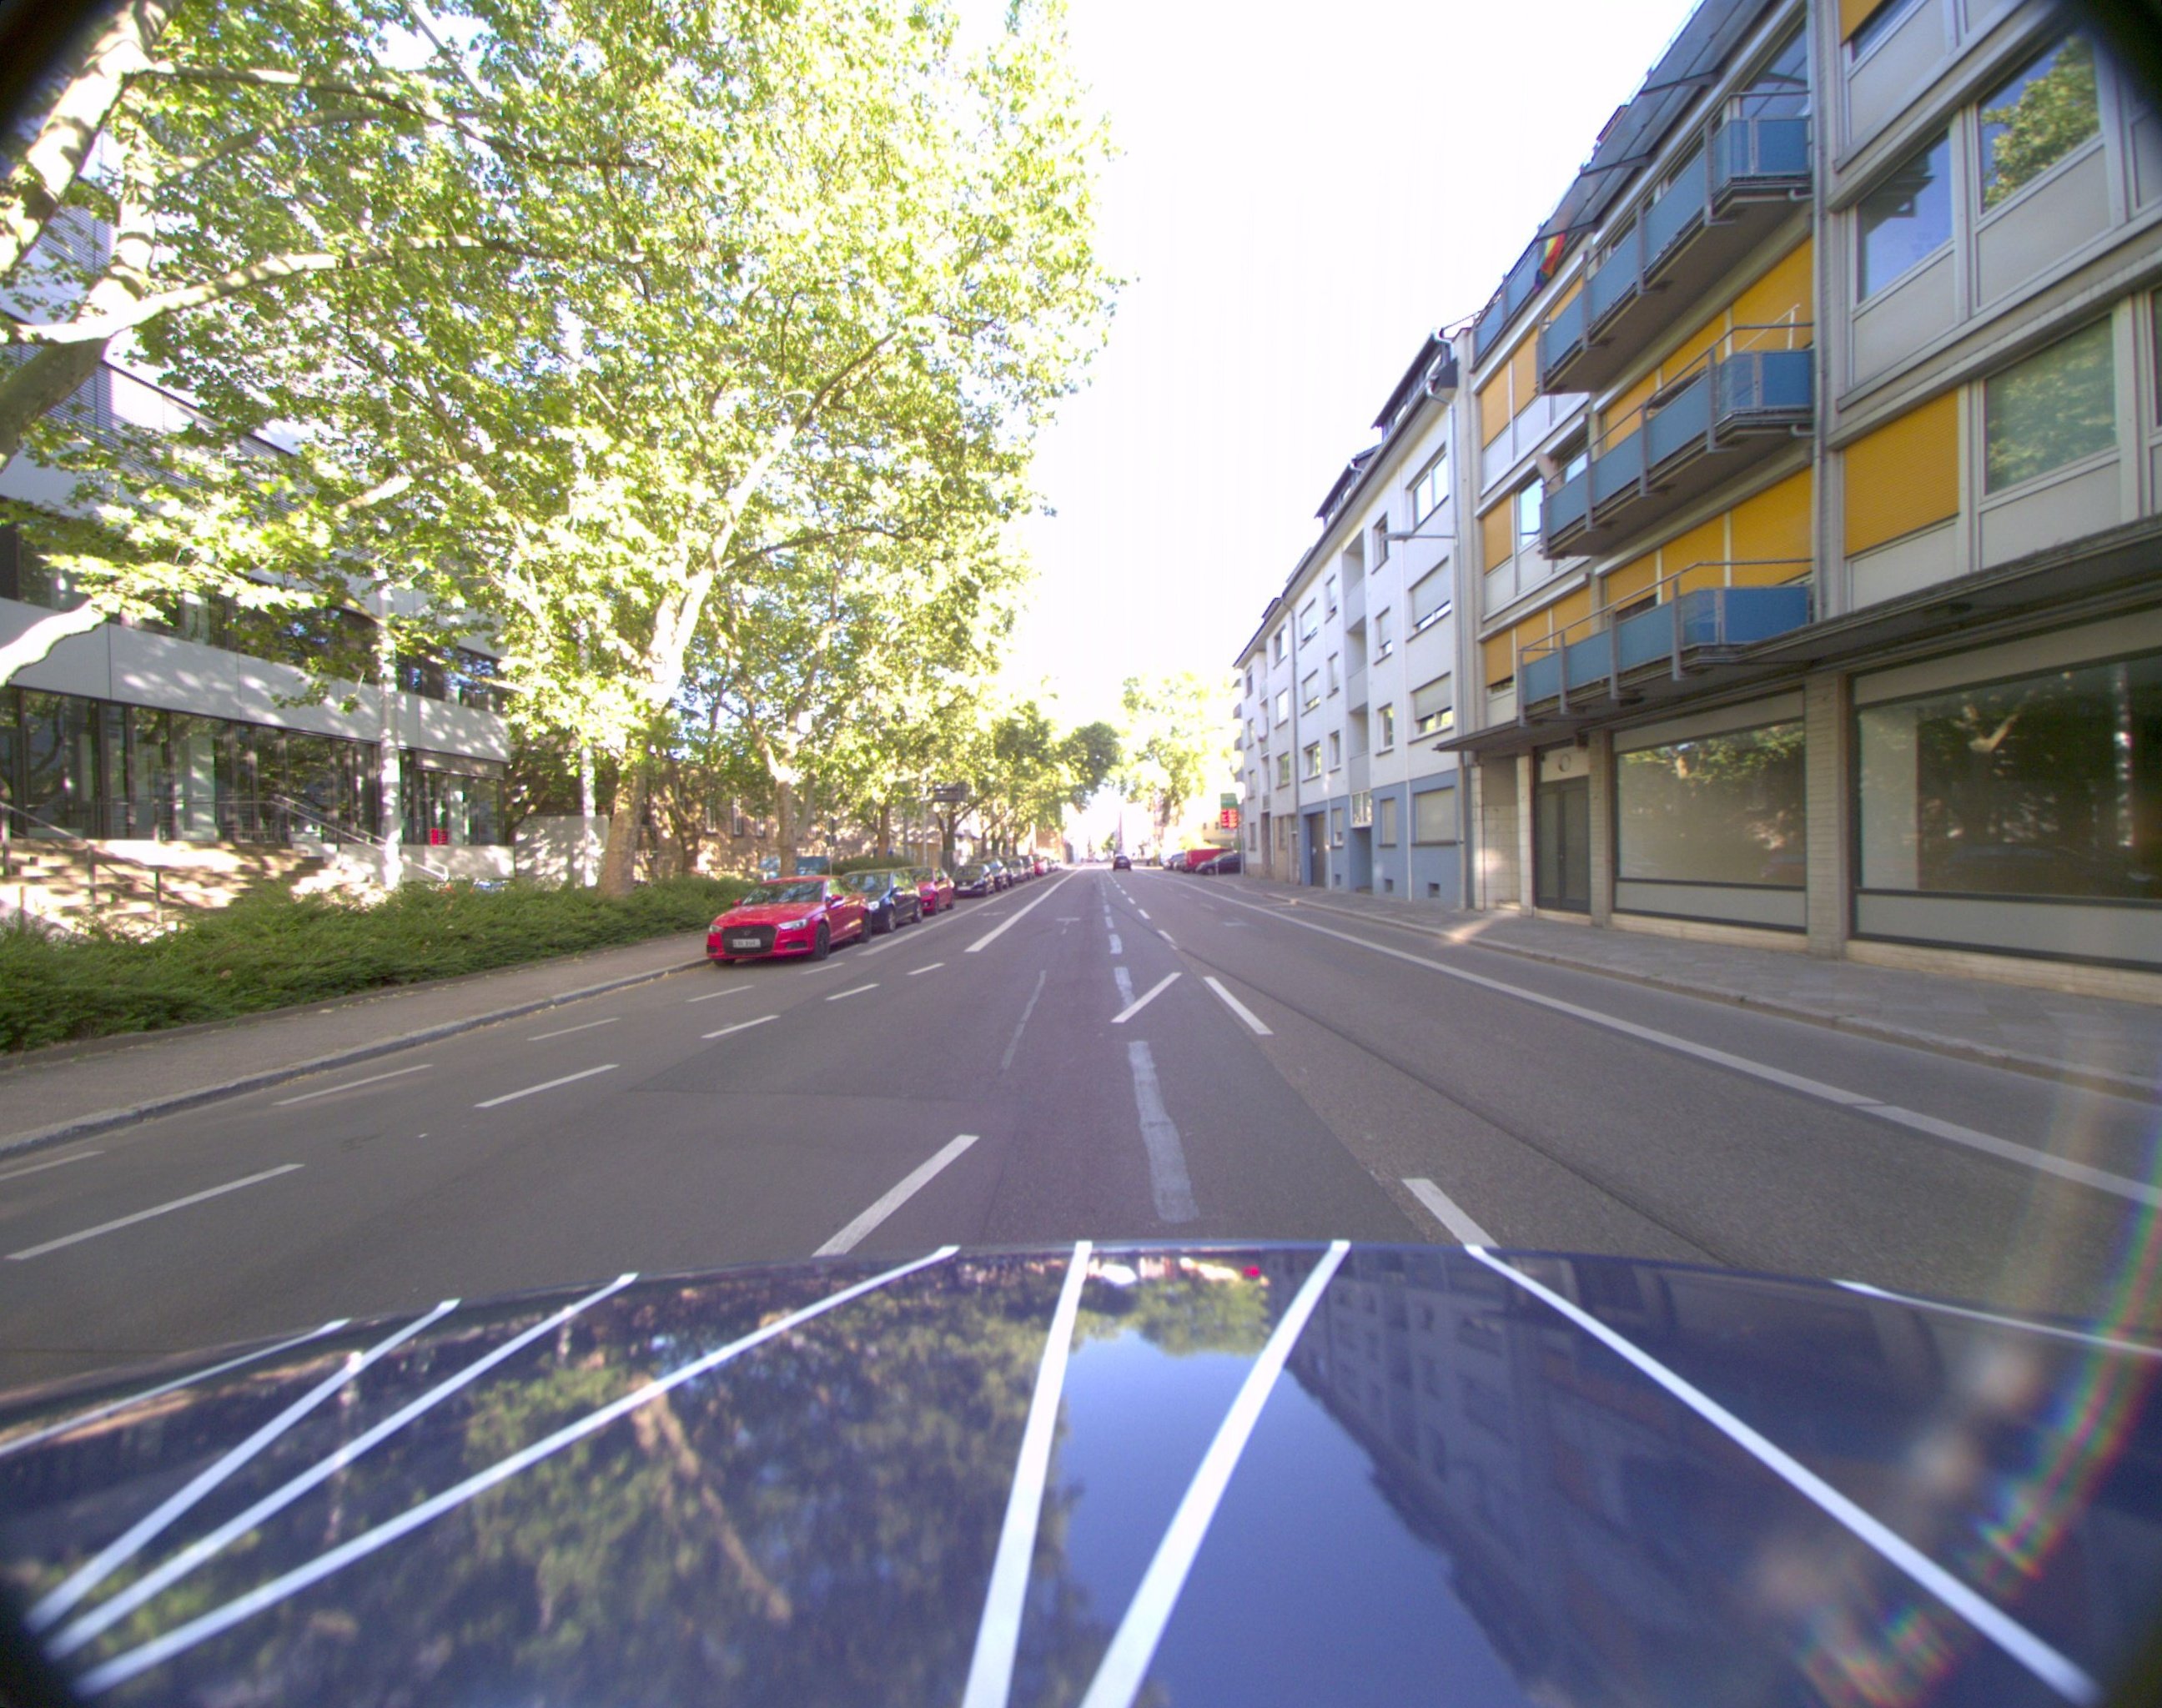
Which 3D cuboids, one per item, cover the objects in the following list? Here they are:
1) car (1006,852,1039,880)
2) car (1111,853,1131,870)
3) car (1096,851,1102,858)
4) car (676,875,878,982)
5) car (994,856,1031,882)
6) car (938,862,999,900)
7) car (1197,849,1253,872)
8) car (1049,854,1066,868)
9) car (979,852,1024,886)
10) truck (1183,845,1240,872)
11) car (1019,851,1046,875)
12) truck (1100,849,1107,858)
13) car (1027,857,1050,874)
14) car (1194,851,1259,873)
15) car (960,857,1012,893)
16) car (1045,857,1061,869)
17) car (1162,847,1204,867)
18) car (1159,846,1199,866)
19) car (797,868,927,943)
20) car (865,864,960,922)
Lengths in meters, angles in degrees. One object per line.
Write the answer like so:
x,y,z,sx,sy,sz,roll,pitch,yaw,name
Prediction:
-4.250,0.845,55.631,1.998,1.838,3.999,-2,1,1,car
4.004,0.734,75.913,1.847,1.668,3.999,-1,1,1,car
6.173,0.194,259.454,1.998,2.002,3.999,-2,1,1,car
-5.186,1.196,13.637,1.907,1.417,3.999,-2,1,1,car
-4.560,0.961,50.873,1.998,1.557,4.142,-2,1,1,car
-4.836,1.131,33.178,1.998,1.447,3.589,-2,1,1,car
10.804,0.451,57.114,3.810,1.563,1.658,-2,1,0,car
-3.181,0.908,103.007,1.998,1.682,3.999,-2,1,1,car
-4.605,0.839,44.516,1.998,1.777,4.572,-2,1,1,car
10.290,0.321,60.215,4.092,1.913,2.000,-2,1,0,truck
-4.221,0.744,66.337,1.998,1.960,3.999,-2,1,1,car
6.884,-0.293,233.822,1.998,2.653,5.314,-2,1,0,truck
-4.033,1.083,71.996,1.824,1.466,3.999,-2,1,1,car
10.459,0.573,54.782,4.324,1.398,1.658,-2,1,0,car
-4.682,1.006,38.119,1.998,1.592,4.142,-2,1,1,car
-3.343,1.071,92.737,1.693,1.364,3.999,-2,1,1,car
10.867,0.285,80.912,4.236,1.945,2.000,-2,1,3,car
10.953,0.219,85.312,4.236,2.025,2.000,-2,1,3,car
-5.169,1.167,18.448,1.998,1.452,3.644,-2,1,1,car
-5.127,1.149,23.668,1.998,1.490,3.828,-2,1,1,car
